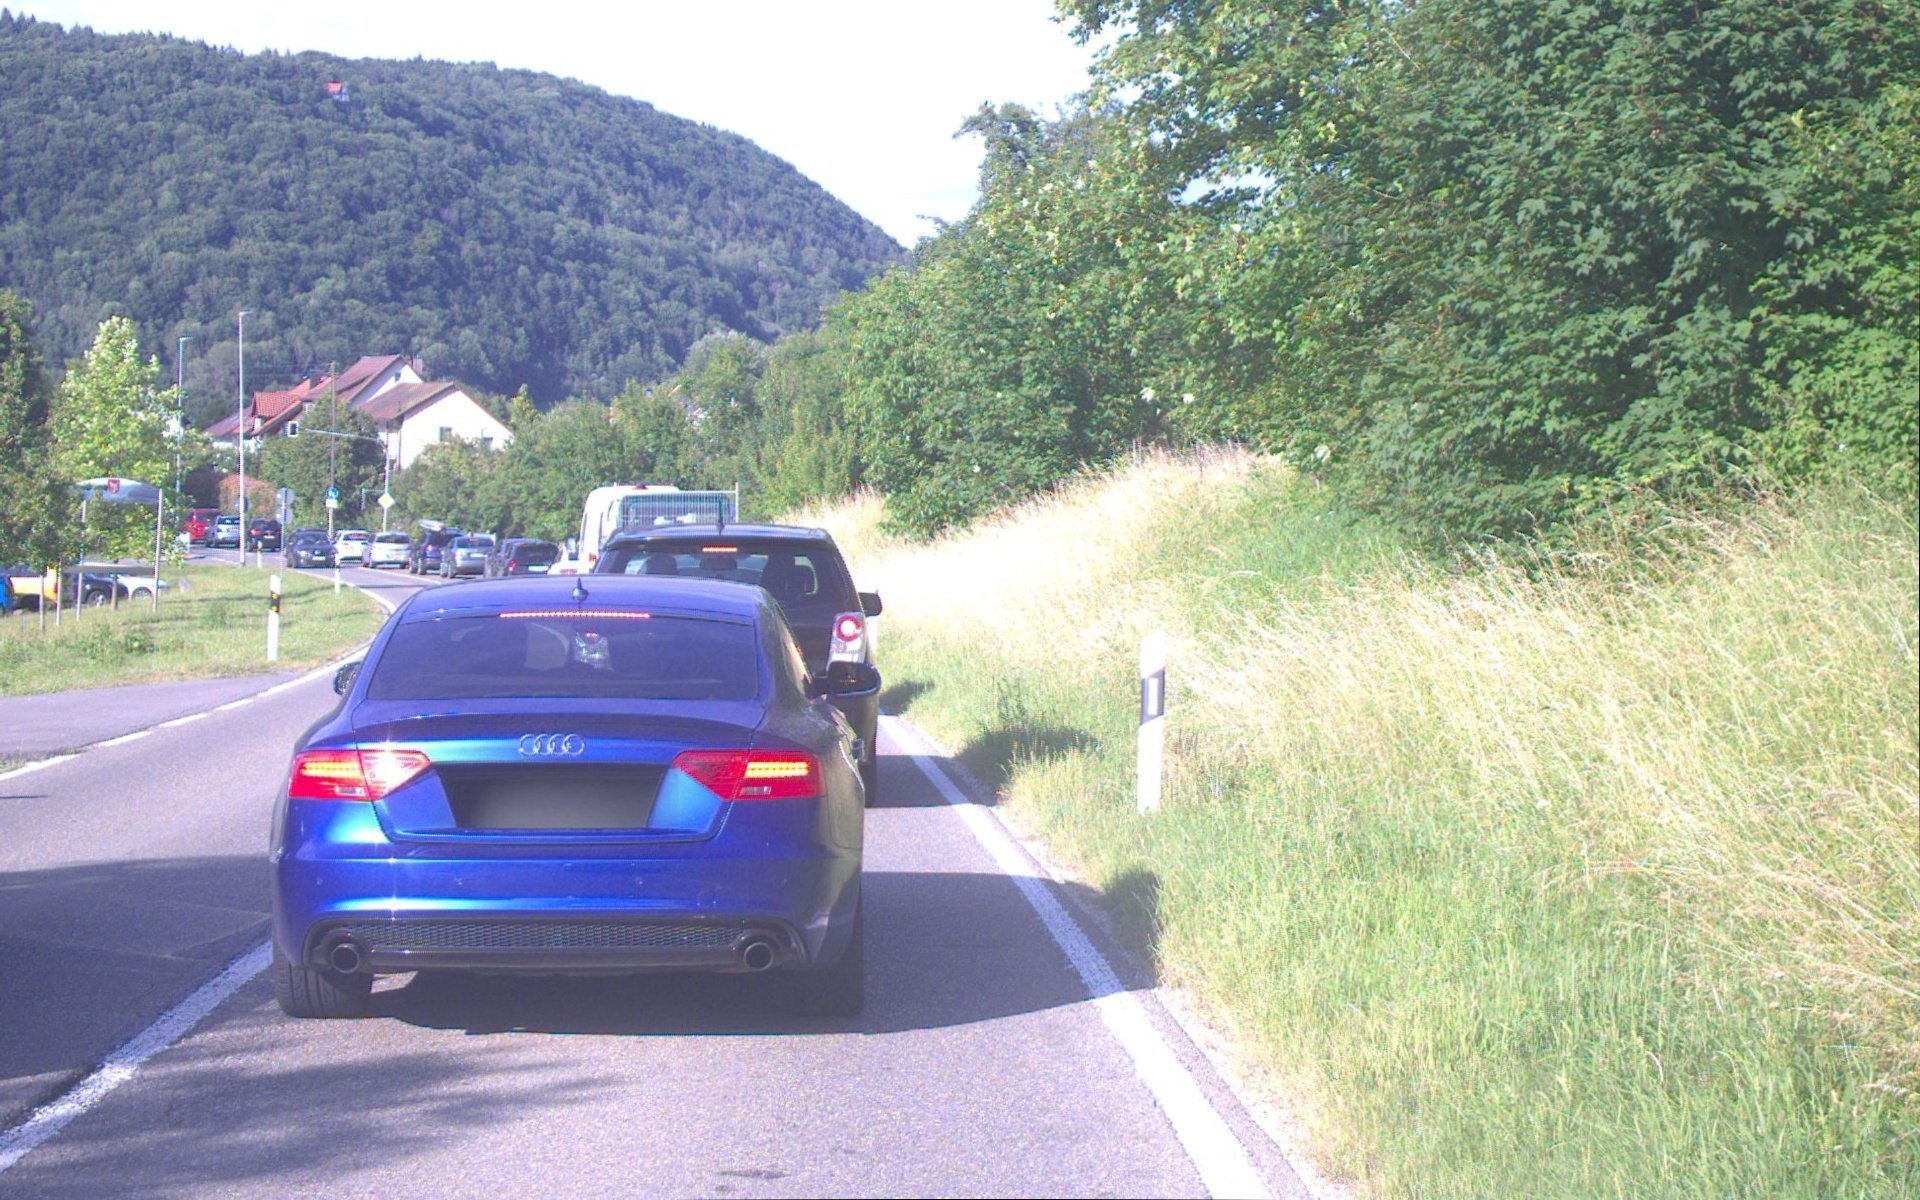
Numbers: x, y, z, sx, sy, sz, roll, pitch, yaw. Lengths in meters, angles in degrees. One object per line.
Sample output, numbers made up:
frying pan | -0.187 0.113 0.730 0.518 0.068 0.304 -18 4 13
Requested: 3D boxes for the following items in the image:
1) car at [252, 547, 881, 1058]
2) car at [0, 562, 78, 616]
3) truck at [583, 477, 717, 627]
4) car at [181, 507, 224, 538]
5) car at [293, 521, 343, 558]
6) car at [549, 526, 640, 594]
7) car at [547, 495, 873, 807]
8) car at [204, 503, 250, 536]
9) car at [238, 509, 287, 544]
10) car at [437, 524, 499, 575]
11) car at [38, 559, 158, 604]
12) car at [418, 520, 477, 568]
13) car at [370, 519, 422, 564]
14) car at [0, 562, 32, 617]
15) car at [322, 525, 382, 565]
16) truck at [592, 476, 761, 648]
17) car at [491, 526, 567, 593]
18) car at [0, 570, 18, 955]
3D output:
car | -1.170 0.554 11.630 1.754 1.425 3.847 1 1 -2
car | -30.594 -0.369 110.688 3.986 1.705 2.000 1 0 -5
truck | -5.718 -0.869 62.715 2.229 2.561 6.709 1 1 -7
car | -42.996 -4.400 195.055 1.845 1.706 4.001 0 1 -21
car | -25.625 -2.398 137.144 1.703 1.425 4.052 1 1 -14
car | -8.332 -0.905 78.058 1.845 1.477 4.001 1 1 -9
car | -1.418 0.261 20.595 1.754 1.675 3.847 1 1 -2
car | -39.604 -4.321 185.630 1.845 1.706 4.001 0 1 -21
car | -35.793 -3.752 176.271 1.845 1.706 4.001 0 1 -21
car | -16.776 -1.713 117.178 1.845 1.706 4.001 1 1 -12
car | -31.362 -0.686 125.177 3.986 1.573 1.753 1 0 -5
car | -18.597 -2.025 124.641 1.845 1.706 4.001 1 1 -12
car | -22.278 -2.307 135.679 1.845 1.706 4.001 1 1 -12
car | -31.434 -0.354 108.151 3.986 1.705 2.000 1 0 -5
car | -26.382 -2.374 149.001 1.845 1.706 4.001 0 1 -21
truck | -4.589 -0.602 54.829 2.229 2.561 6.105 1 1 -9
car | -11.259 -1.058 89.660 1.845 1.706 4.001 1 1 -9
car | -4.044 0.583 10.134 1.594 1.349 4.204 1 1 -3
